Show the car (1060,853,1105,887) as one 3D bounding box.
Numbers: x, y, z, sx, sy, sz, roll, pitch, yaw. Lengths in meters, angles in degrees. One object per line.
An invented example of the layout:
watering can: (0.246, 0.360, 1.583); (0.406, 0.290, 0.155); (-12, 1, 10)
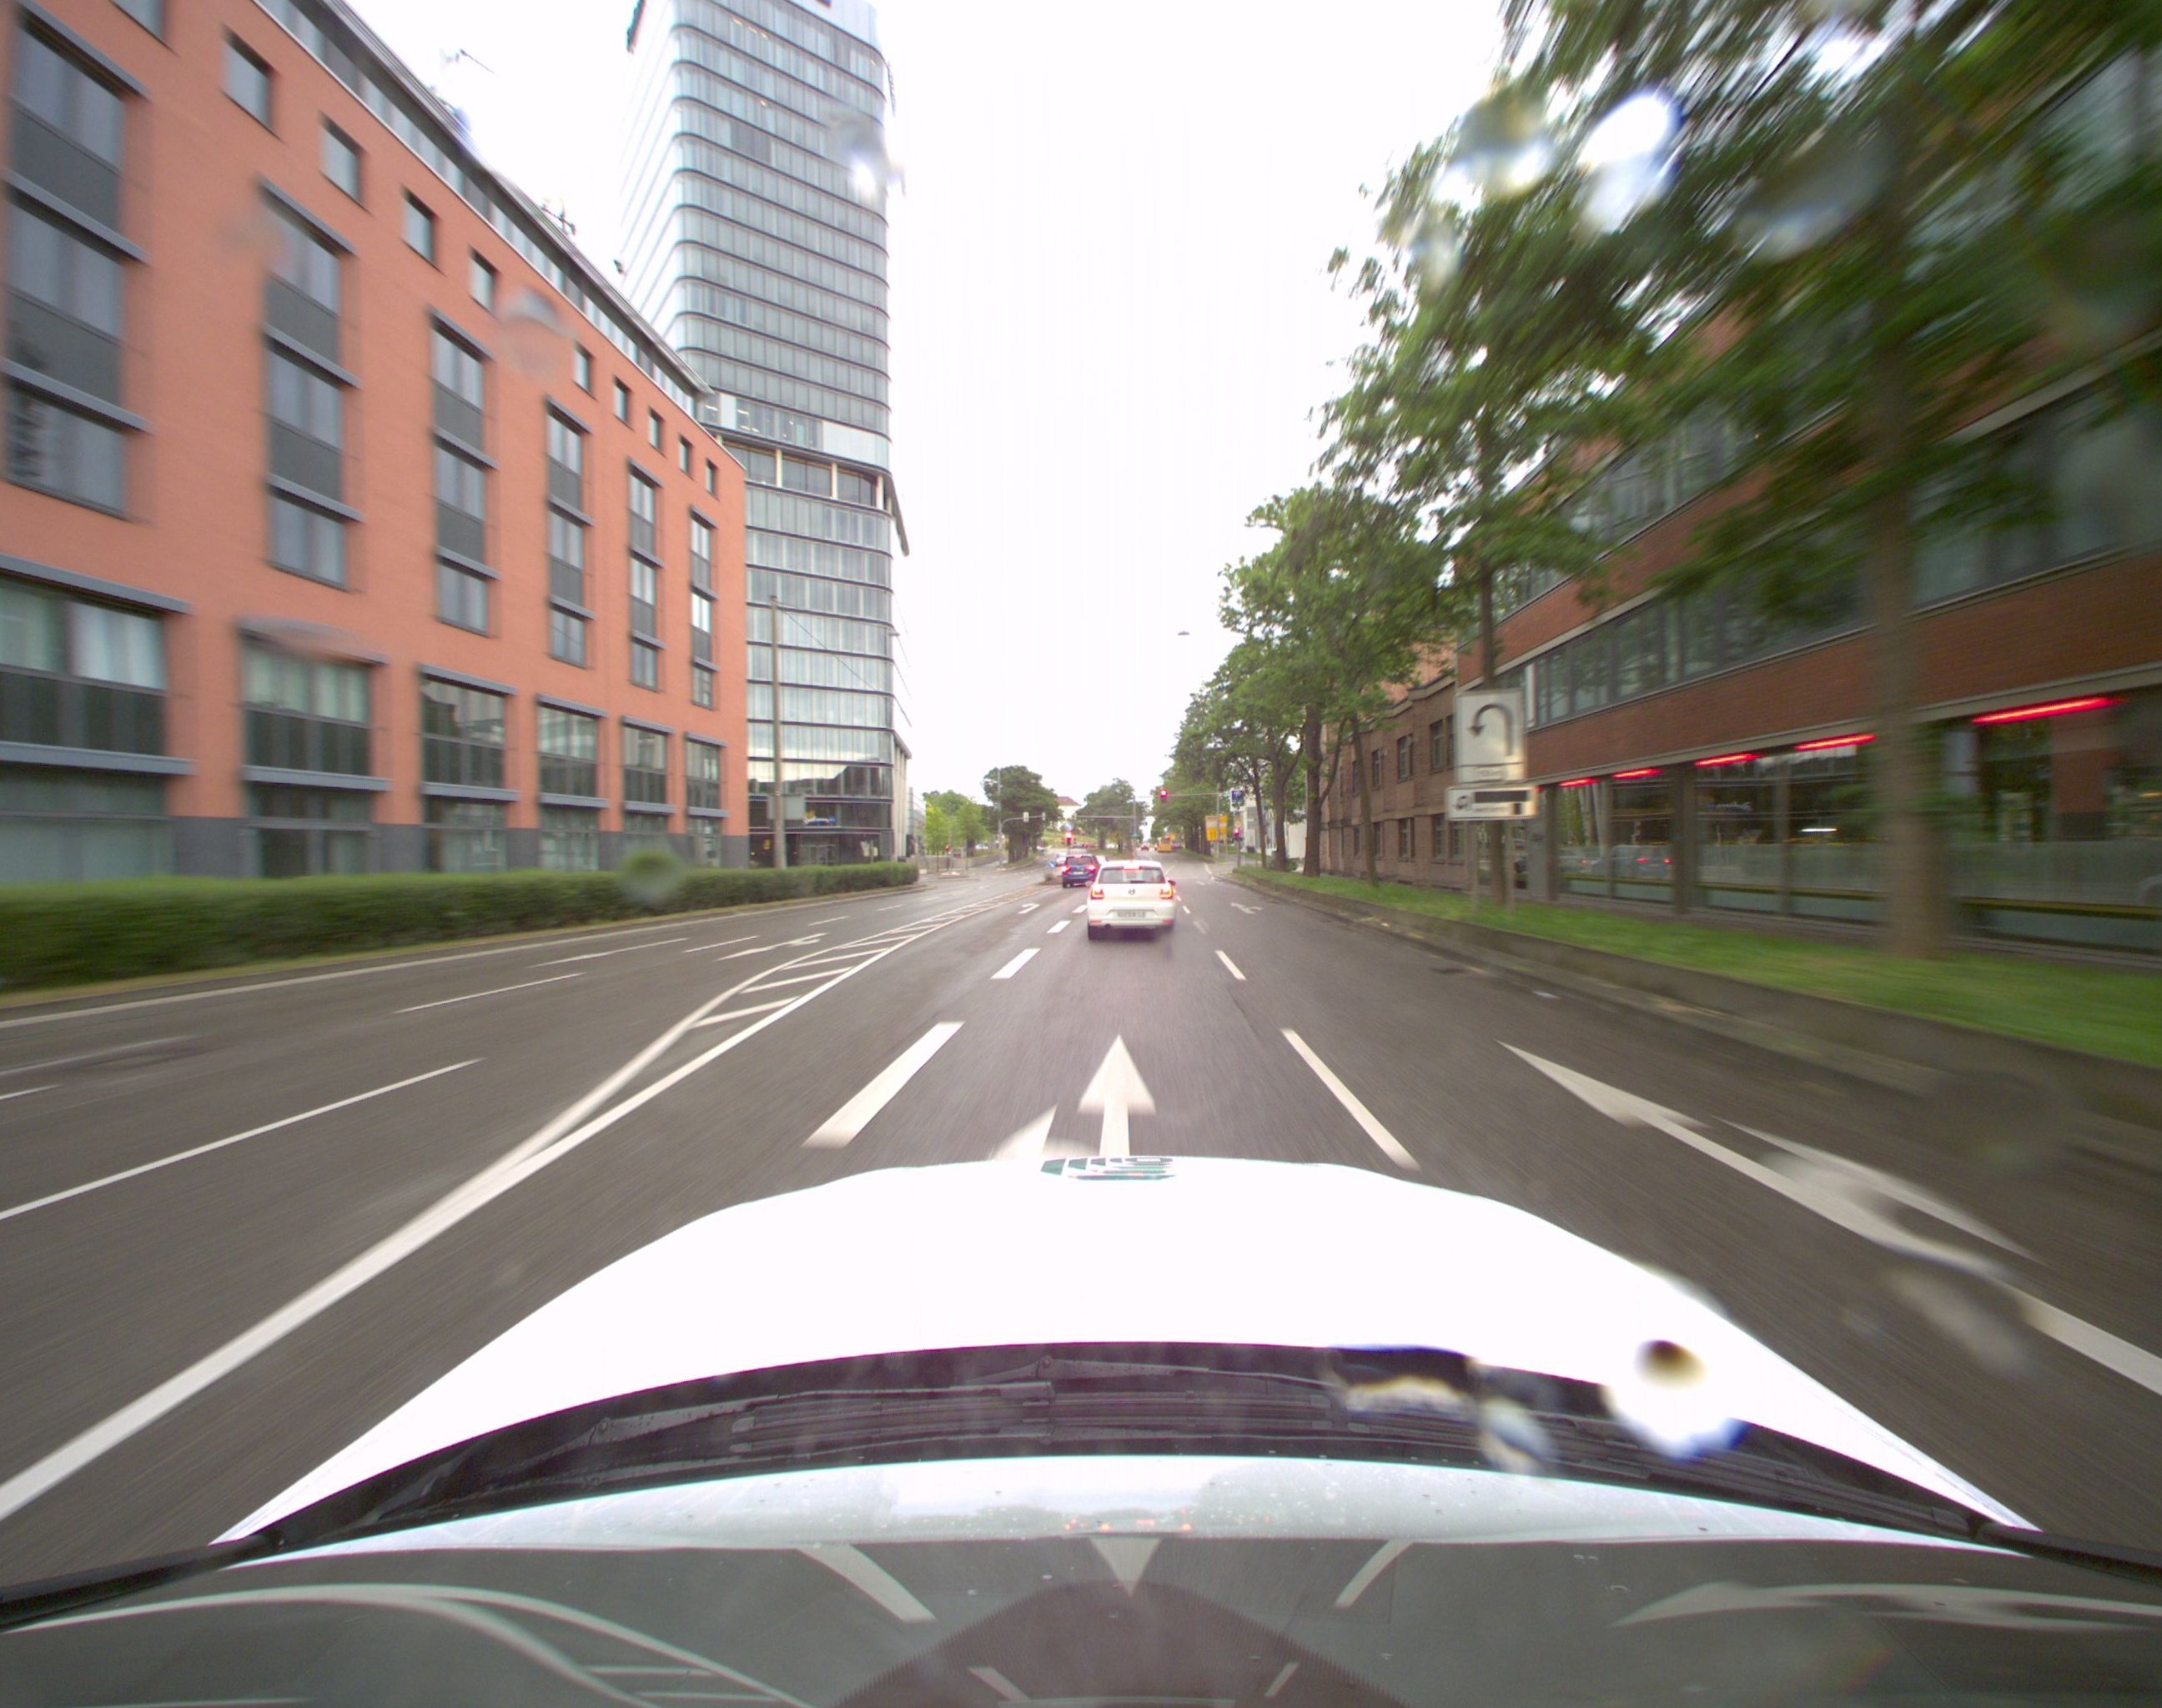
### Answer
car: (0.118, 0.788, 41.727); (1.763, 1.596, 4.206); (-2, 0, 7)

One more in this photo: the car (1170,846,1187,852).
car: (22.568, -1.156, 188.950); (3.848, 1.515, 1.680); (-1, 0, -42)

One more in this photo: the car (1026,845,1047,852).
car: (-10.496, -1.205, 190.844); (4.596, 1.411, 1.831); (-2, 1, 28)

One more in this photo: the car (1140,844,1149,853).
car: (14.822, -1.244, 190.024); (1.985, 2.013, 4.004); (-1, 0, 4)

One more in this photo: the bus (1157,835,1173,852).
bus: (17.502, -2.233, 169.839); (2.816, 3.266, 10.011); (0, 1, 4)

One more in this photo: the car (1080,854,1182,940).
car: (1.055, 0.772, 16.398); (1.786, 1.502, 4.005); (-1, 0, 5)

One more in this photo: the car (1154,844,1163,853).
car: (17.970, -1.316, 189.640); (1.985, 2.013, 4.004); (-1, 0, 4)

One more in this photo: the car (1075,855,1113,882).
car: (0.844, 0.828, 49.161); (1.837, 1.510, 4.055); (-2, 0, 6)

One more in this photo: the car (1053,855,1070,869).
car: (-2.340, 0.920, 98.122); (1.744, 1.520, 3.818); (-2, 1, 1)
